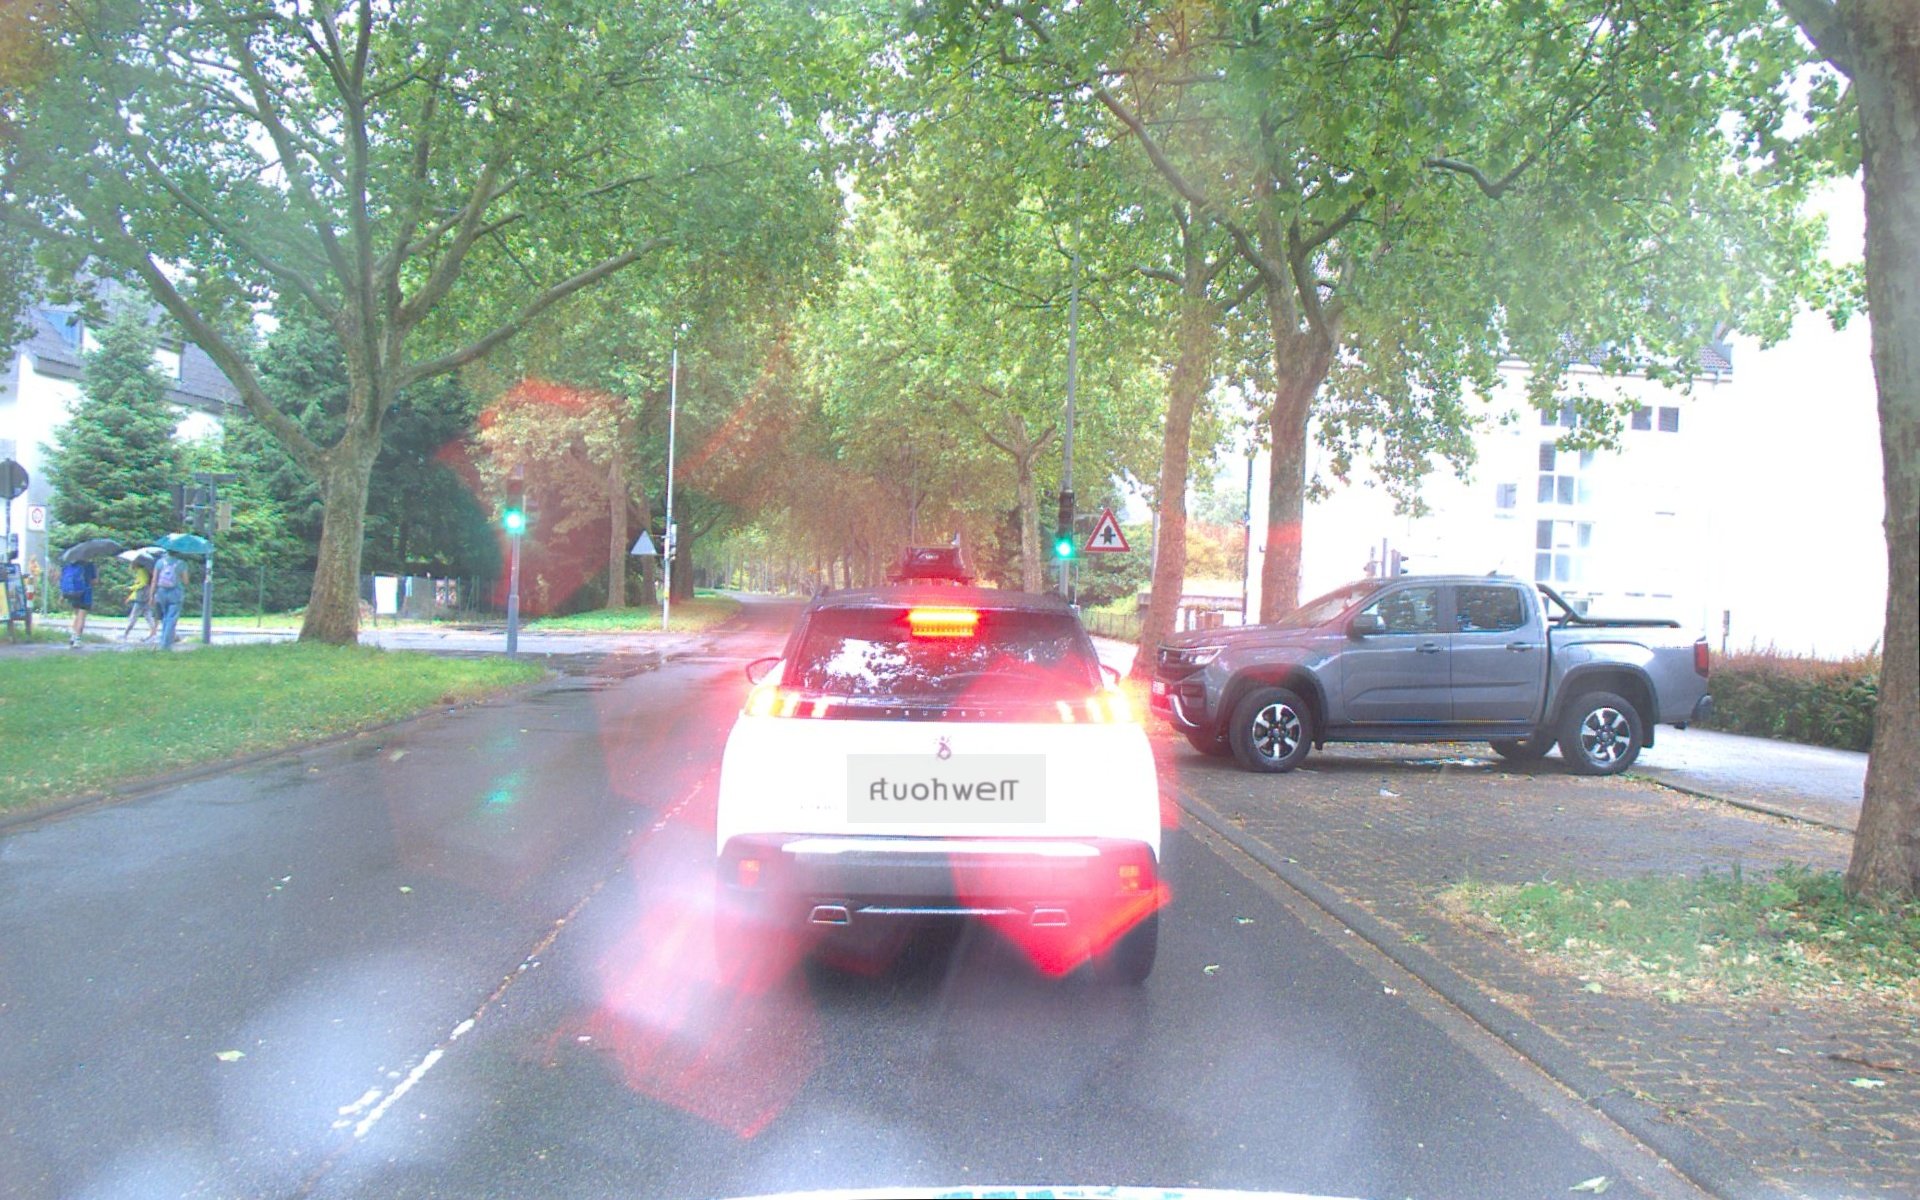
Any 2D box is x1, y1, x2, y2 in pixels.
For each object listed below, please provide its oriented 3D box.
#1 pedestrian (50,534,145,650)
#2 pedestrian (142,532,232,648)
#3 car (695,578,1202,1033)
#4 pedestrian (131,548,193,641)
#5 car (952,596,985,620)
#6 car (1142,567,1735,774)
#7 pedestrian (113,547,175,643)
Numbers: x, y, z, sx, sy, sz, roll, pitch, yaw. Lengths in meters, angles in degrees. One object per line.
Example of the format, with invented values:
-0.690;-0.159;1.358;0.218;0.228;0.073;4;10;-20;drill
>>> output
-13.724;-0.126;26.345;1.012;1.796;0.879;1;0;-1;pedestrian
-12.345;-0.162;26.445;1.012;1.796;0.838;1;0;-1;pedestrian
-0.079;0.709;7.832;1.744;1.563;4.056;1;0;-1;car
-15.656;-0.107;32.463;0.842;1.775;0.639;2;0;-4;pedestrian
0.547;0.513;111.730;1.868;1.536;3.927;2;0;-5;car
4.538;0.652;16.027;5.238;1.838;1.842;1;0;-8;car
-15.470;-0.099;31.366;0.804;1.775;0.639;2;0;-4;pedestrian
